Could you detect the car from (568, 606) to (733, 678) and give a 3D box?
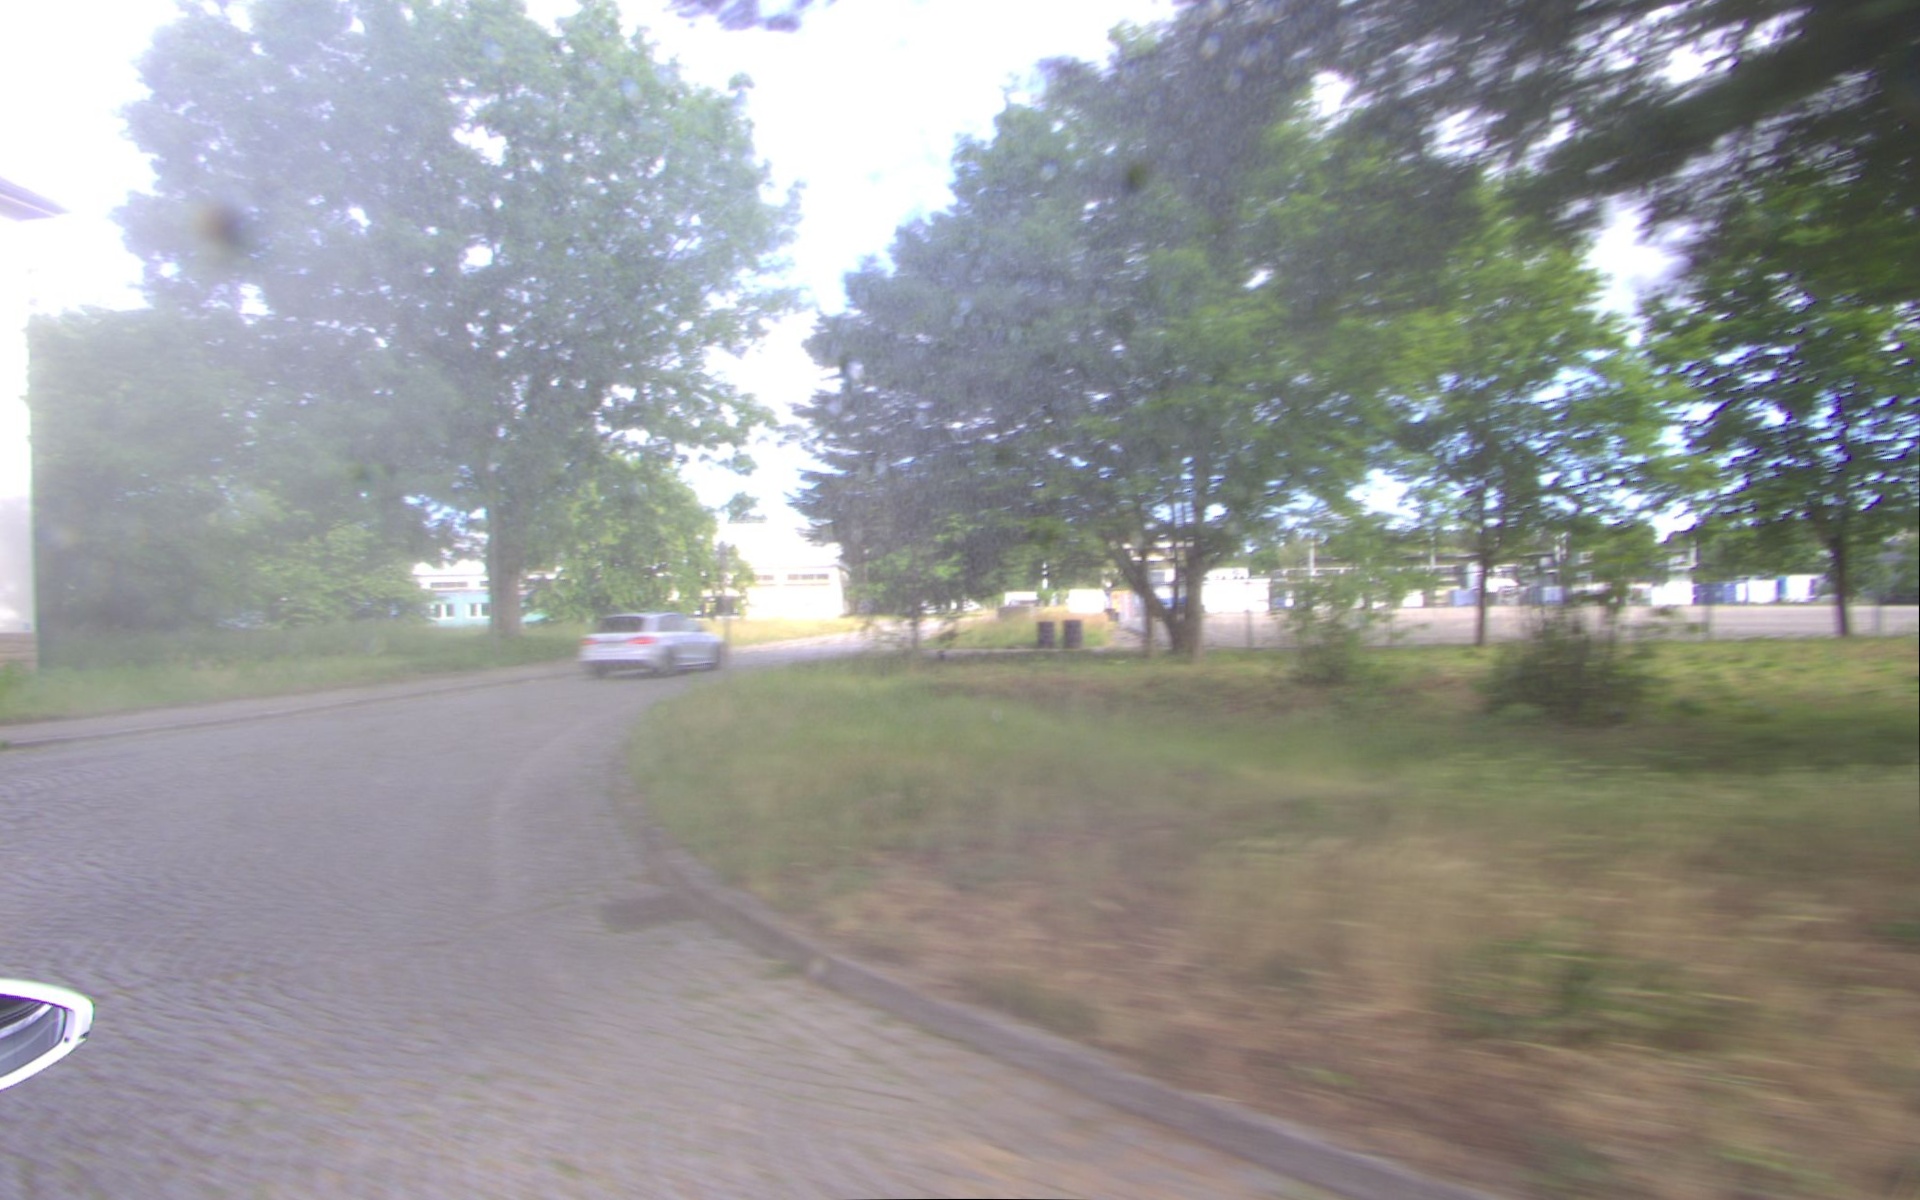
[{"bbox_3d":[-6.999,0.896,23.238,1.819,1.456,4.704,-1,0,7],"label":"car"}]
